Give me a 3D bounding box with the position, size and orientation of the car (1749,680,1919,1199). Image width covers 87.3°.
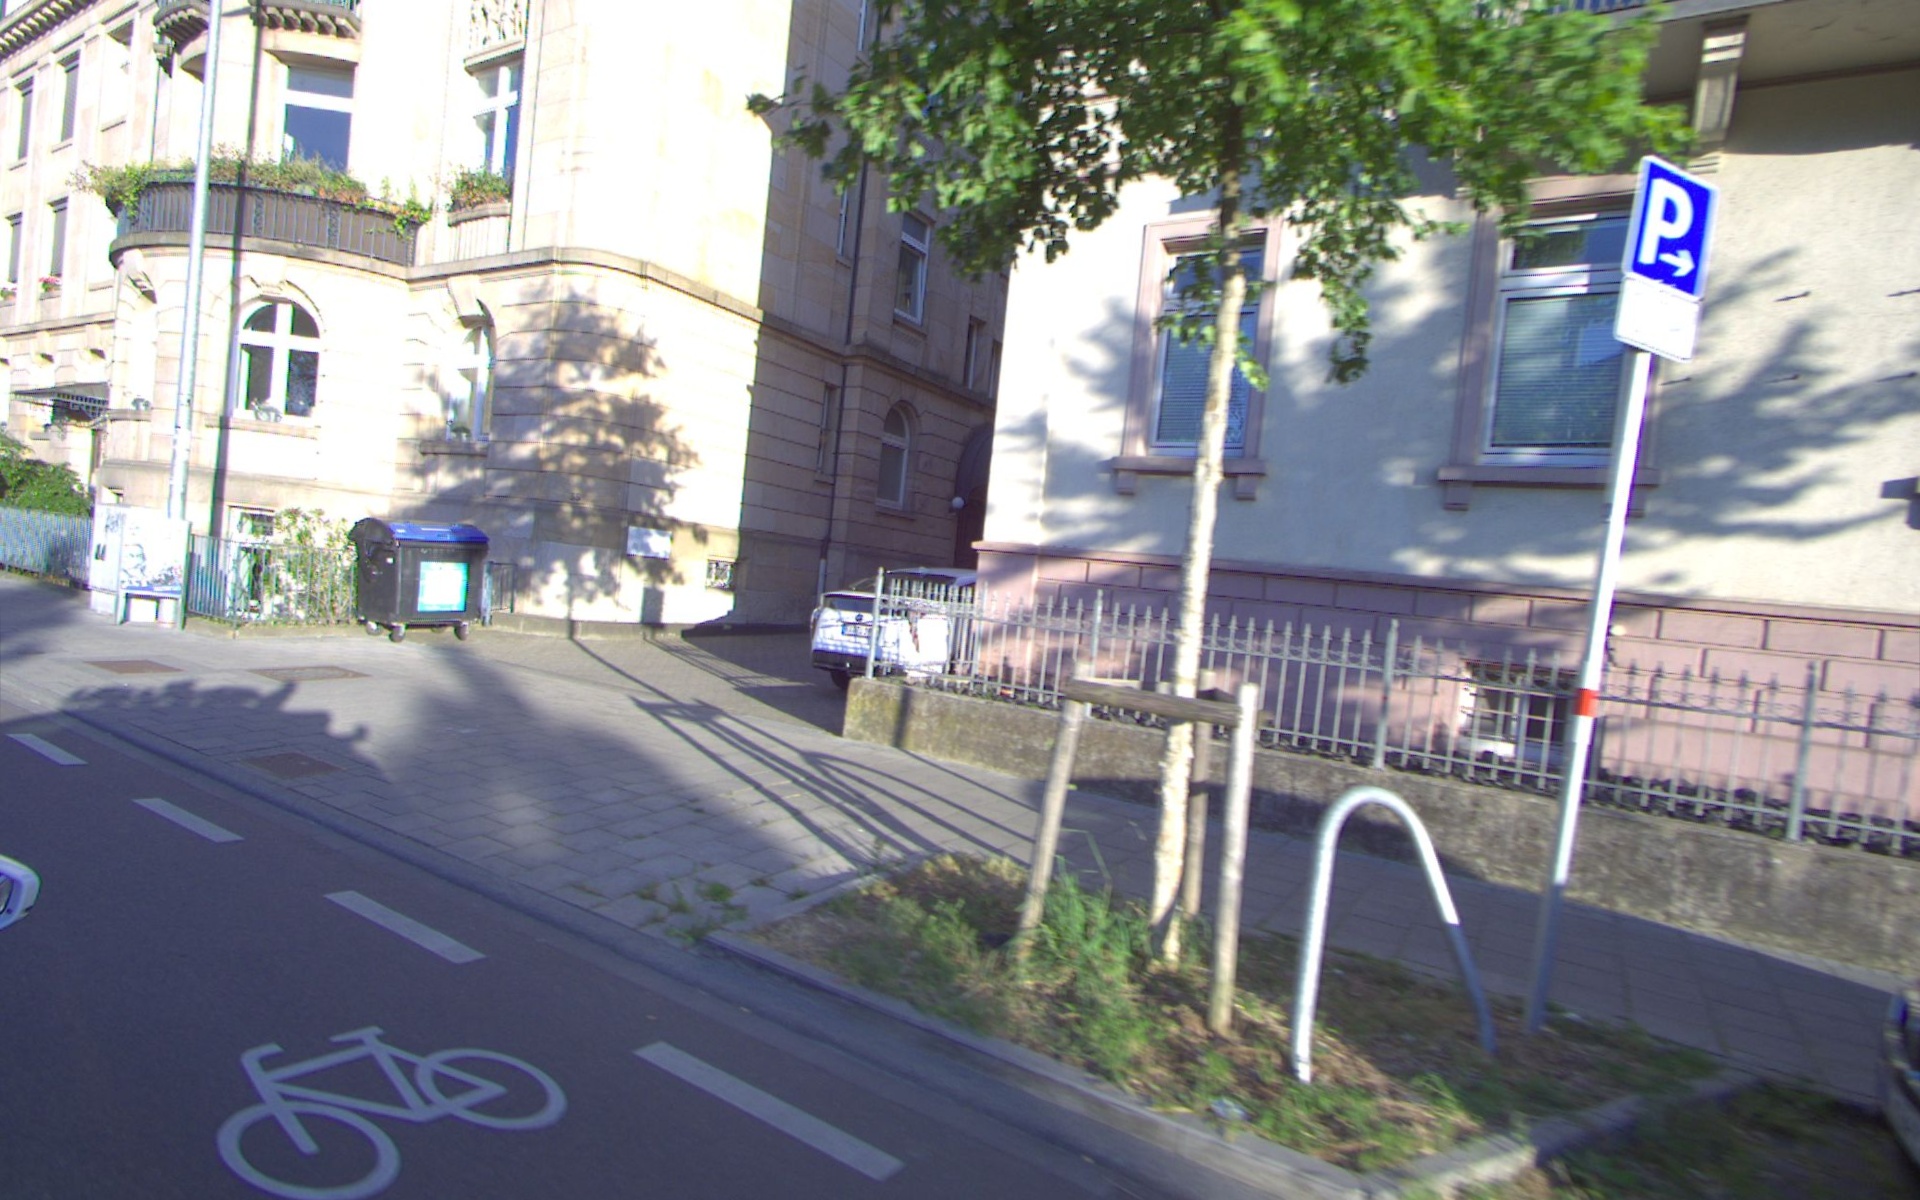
[{"bbox_3d":[4.308,1.237,1.645,4.369,1.491,1.793,7,4,29],"label":"car"}]

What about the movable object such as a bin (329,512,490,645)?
[{"bbox_3d":[-6.873,-0.250,12.592,1.104,1.480,1.262,7,1,29],"label":"movable object such as a bin"}]

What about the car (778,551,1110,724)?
[{"bbox_3d":[-0.011,0.348,12.253,1.886,1.593,4.189,7,4,34],"label":"car"}]
